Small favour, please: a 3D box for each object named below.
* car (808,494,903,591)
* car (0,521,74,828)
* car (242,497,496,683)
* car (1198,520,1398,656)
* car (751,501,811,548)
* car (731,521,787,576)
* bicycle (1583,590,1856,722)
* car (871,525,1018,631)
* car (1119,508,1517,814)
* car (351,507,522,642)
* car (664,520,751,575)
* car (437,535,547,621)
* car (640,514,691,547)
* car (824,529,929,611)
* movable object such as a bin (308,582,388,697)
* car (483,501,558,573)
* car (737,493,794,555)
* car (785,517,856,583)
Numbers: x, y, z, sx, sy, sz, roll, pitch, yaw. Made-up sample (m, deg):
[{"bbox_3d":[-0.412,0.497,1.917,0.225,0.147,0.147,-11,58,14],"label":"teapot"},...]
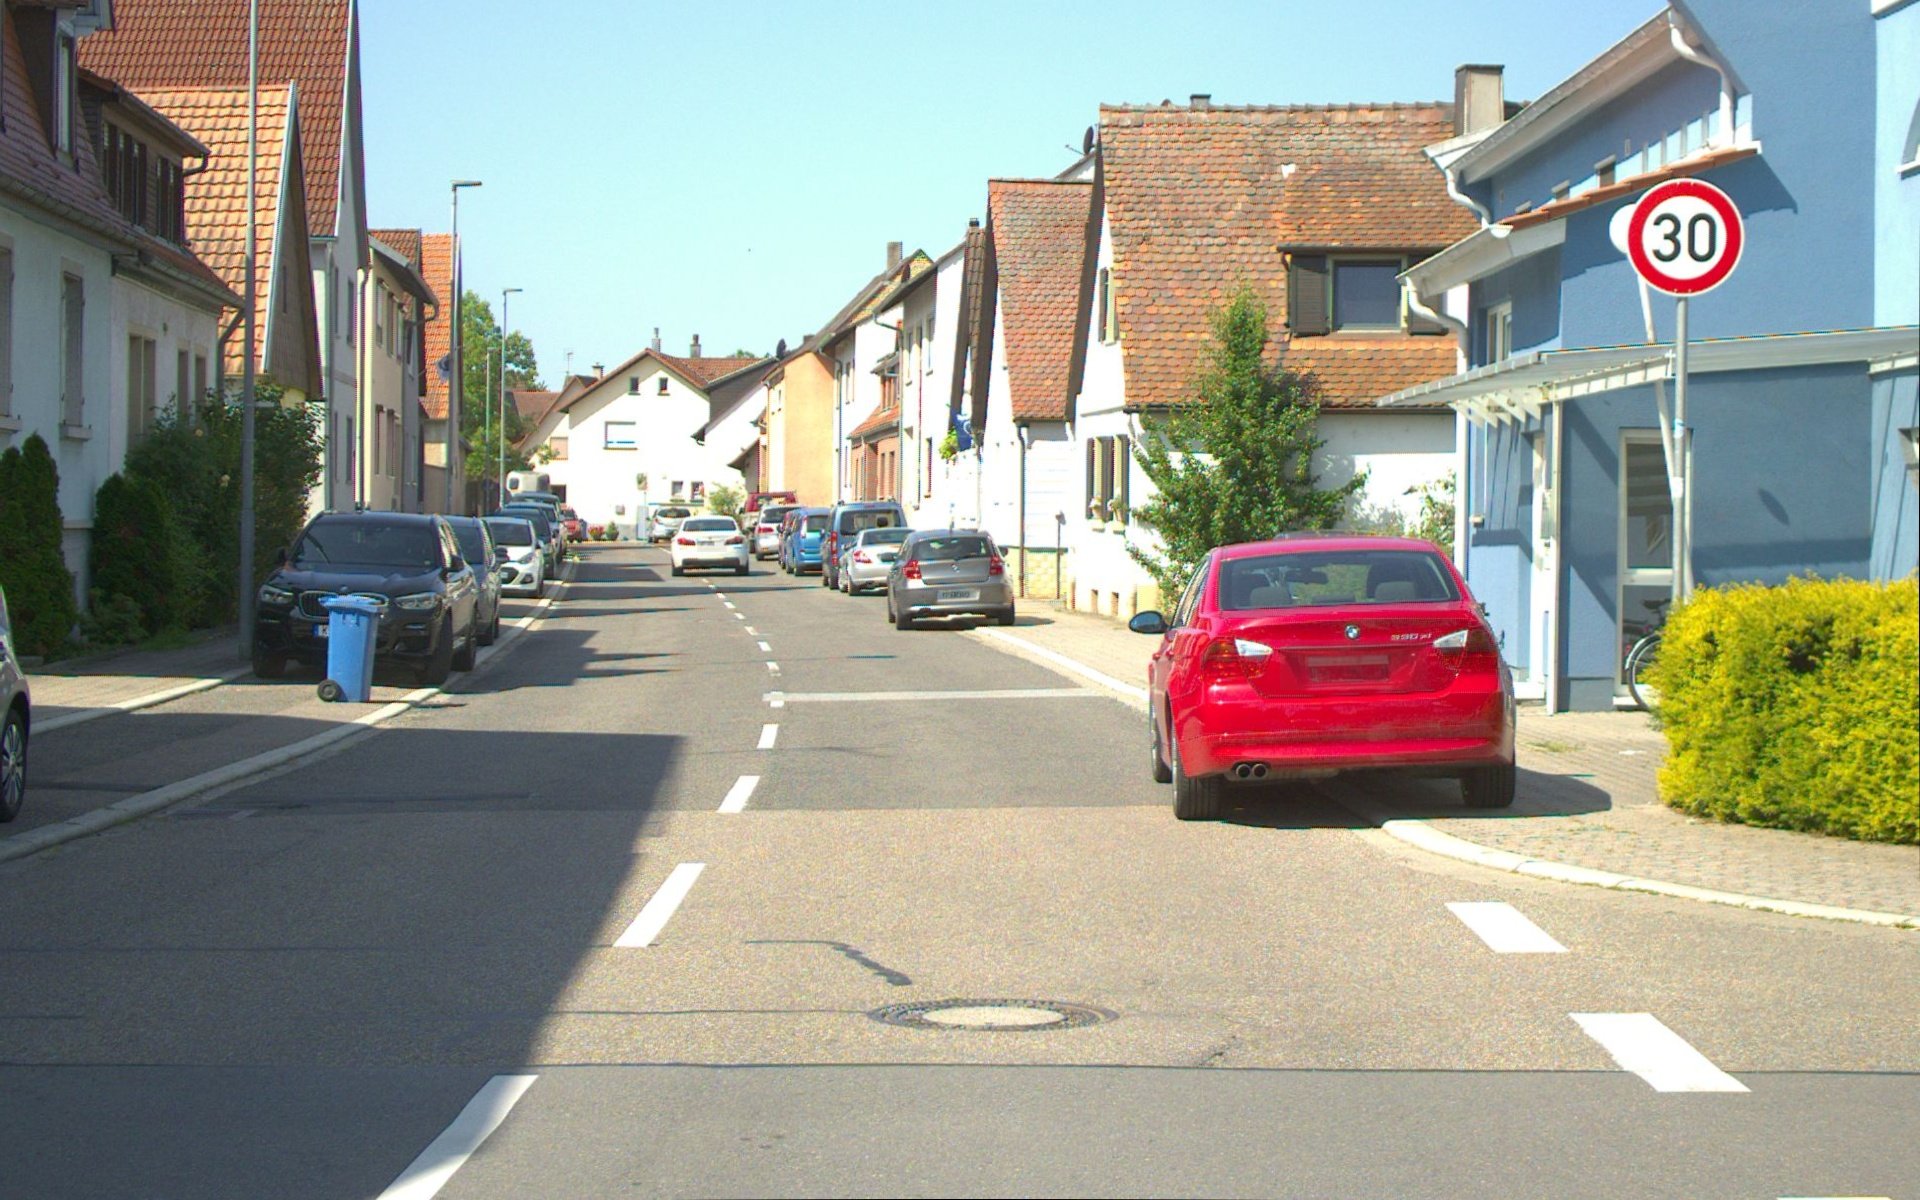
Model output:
[{"bbox_3d":[-2.214,-1.211,72.120,1.649,1.903,3.626,2,1,-6],"label":"car"},{"bbox_3d":[-5.493,0.324,16.021,1.640,1.496,3.781,4,1,0],"label":"car"},{"bbox_3d":[-5.946,-0.128,35.104,1.920,1.662,4.666,3,1,-3],"label":"car"},{"bbox_3d":[3.784,-0.155,39.105,1.689,1.415,4.146,2,1,-2],"label":"car"},{"bbox_3d":[-5.683,-2.366,108.870,1.766,1.428,3.450,1,1,-5],"label":"car"},{"bbox_3d":[-5.907,-1.519,100.713,1.420,1.510,3.305,2,1,-6],"label":"car"},{"bbox_3d":[5.856,0.425,26.585,1.954,0.977,0.657,1,1,0],"label":"bicycle"},{"bbox_3d":[-0.268,-0.344,50.383,1.704,1.428,3.890,2,1,-6],"label":"car"},{"bbox_3d":[1.844,0.322,18.924,1.732,1.489,4.354,0,-1,0],"label":"car"},{"bbox_3d":[-6.923,-0.366,45.873,1.872,1.631,4.665,2,1,-5],"label":"car"},{"bbox_3d":[-6.232,-1.283,84.545,1.993,1.284,4.001,1,1,-6],"label":"car"},{"bbox_3d":[-9.034,-0.460,66.618,1.806,1.542,4.405,2,1,-5],"label":"car"},{"bbox_3d":[-11.946,-2.824,139.398,1.993,1.284,3.804,1,1,-6],"label":"car"},{"bbox_3d":[-1.649,-0.613,67.107,1.704,1.491,3.453,2,1,-6],"label":"car"},{"bbox_3d":[-5.415,0.349,30.428,0.596,0.979,0.531,3,1,-4],"label":"movable object such as a bin"},{"bbox_3d":[-10.227,-1.478,80.177,1.619,1.572,3.962,2,1,-6],"label":"car"},{"bbox_3d":[-6.449,-2.502,113.861,1.766,1.997,3.450,1,1,-5],"label":"car"},{"bbox_3d":[-3.391,-1.210,83.167,1.420,1.510,3.305,2,1,-6],"label":"car"}]
